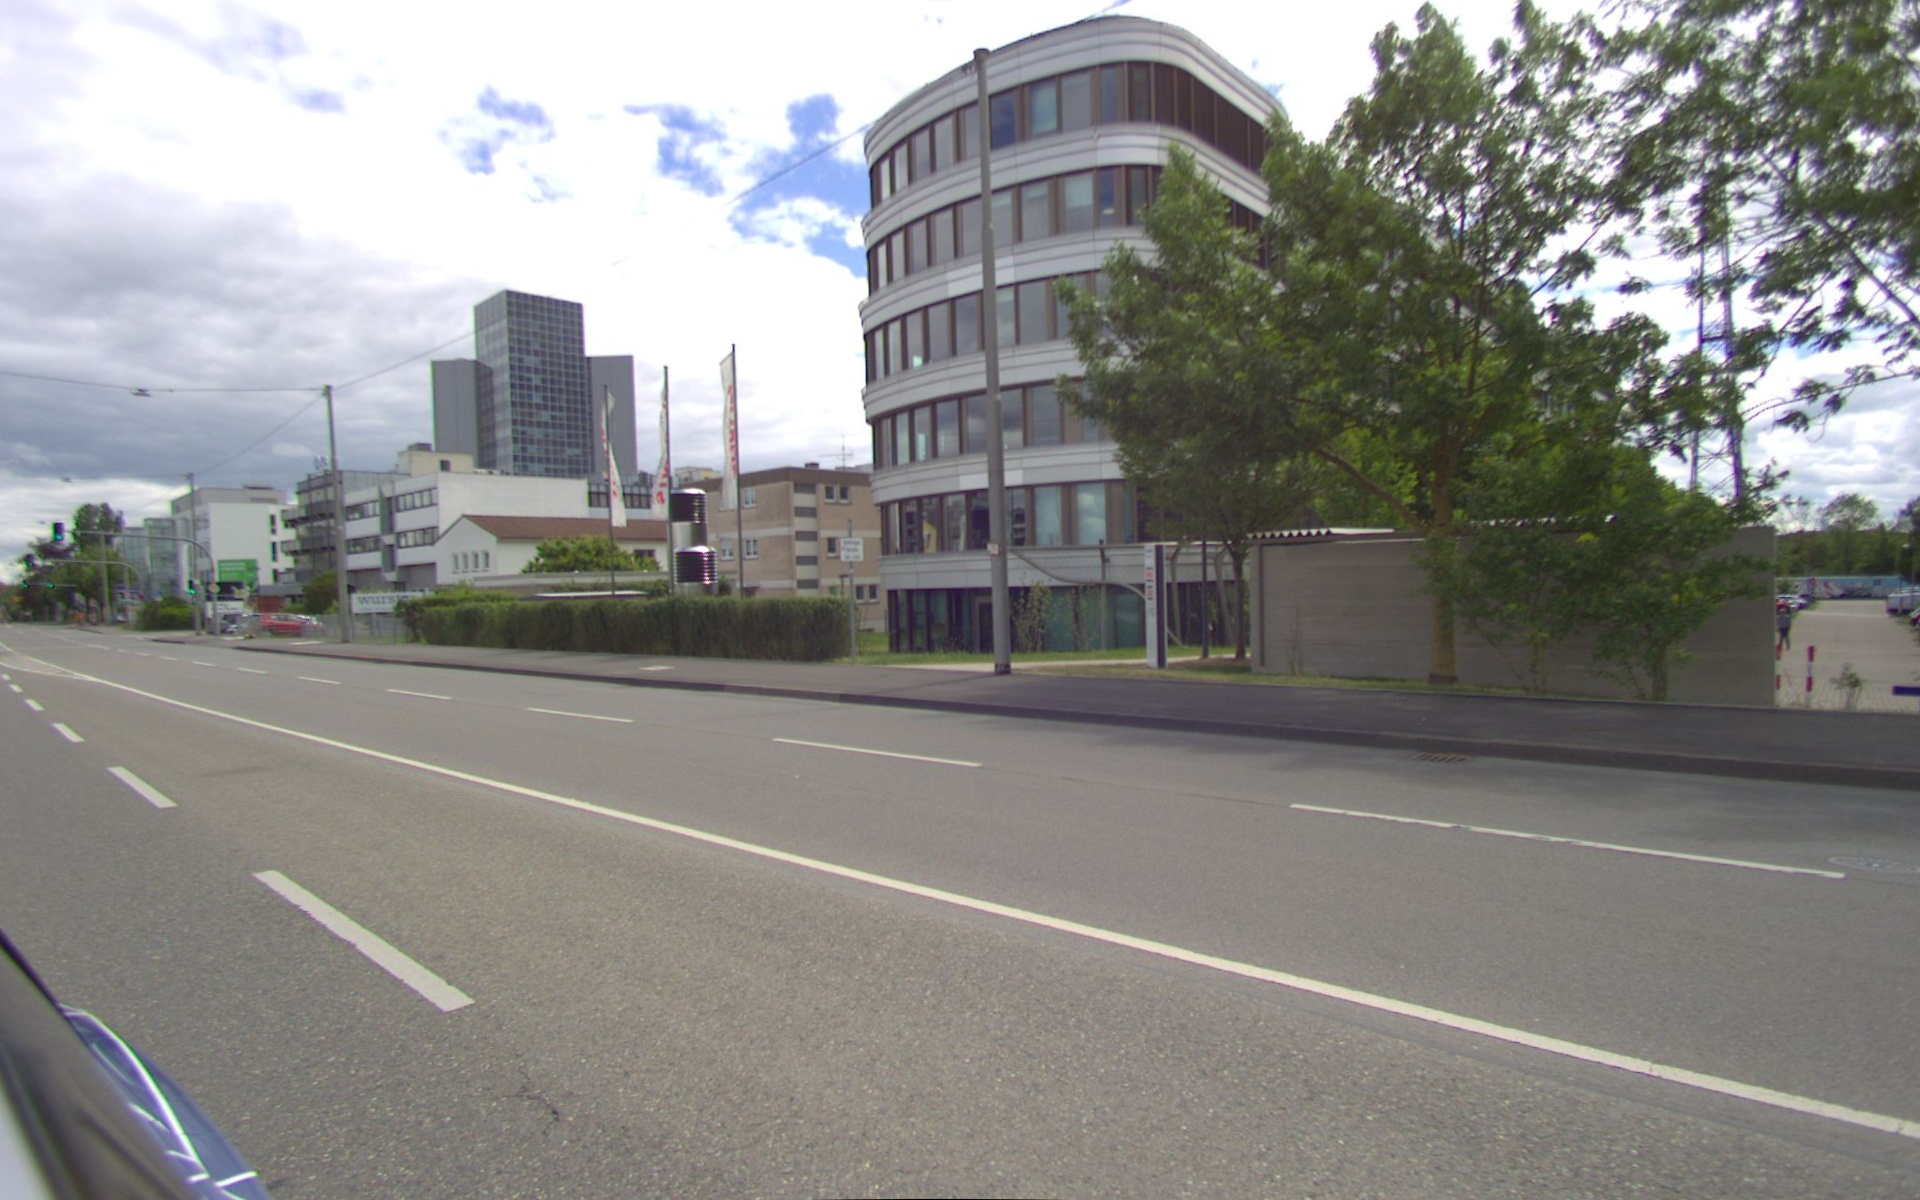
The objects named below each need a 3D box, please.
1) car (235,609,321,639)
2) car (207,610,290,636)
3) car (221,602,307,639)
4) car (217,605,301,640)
[{"bbox_3d":[-39.746,1.392,59.021,1.834,1.623,3.754,-2,0,40],"label":"car"},{"bbox_3d":[-45.233,1.455,64.368,1.823,1.342,3.946,-2,2,42],"label":"car"},{"bbox_3d":[-41.877,1.182,60.938,1.920,2.029,3.944,-1,1,42],"label":"car"},{"bbox_3d":[-43.498,1.370,62.883,1.904,2.029,3.944,-1,1,43],"label":"car"}]
